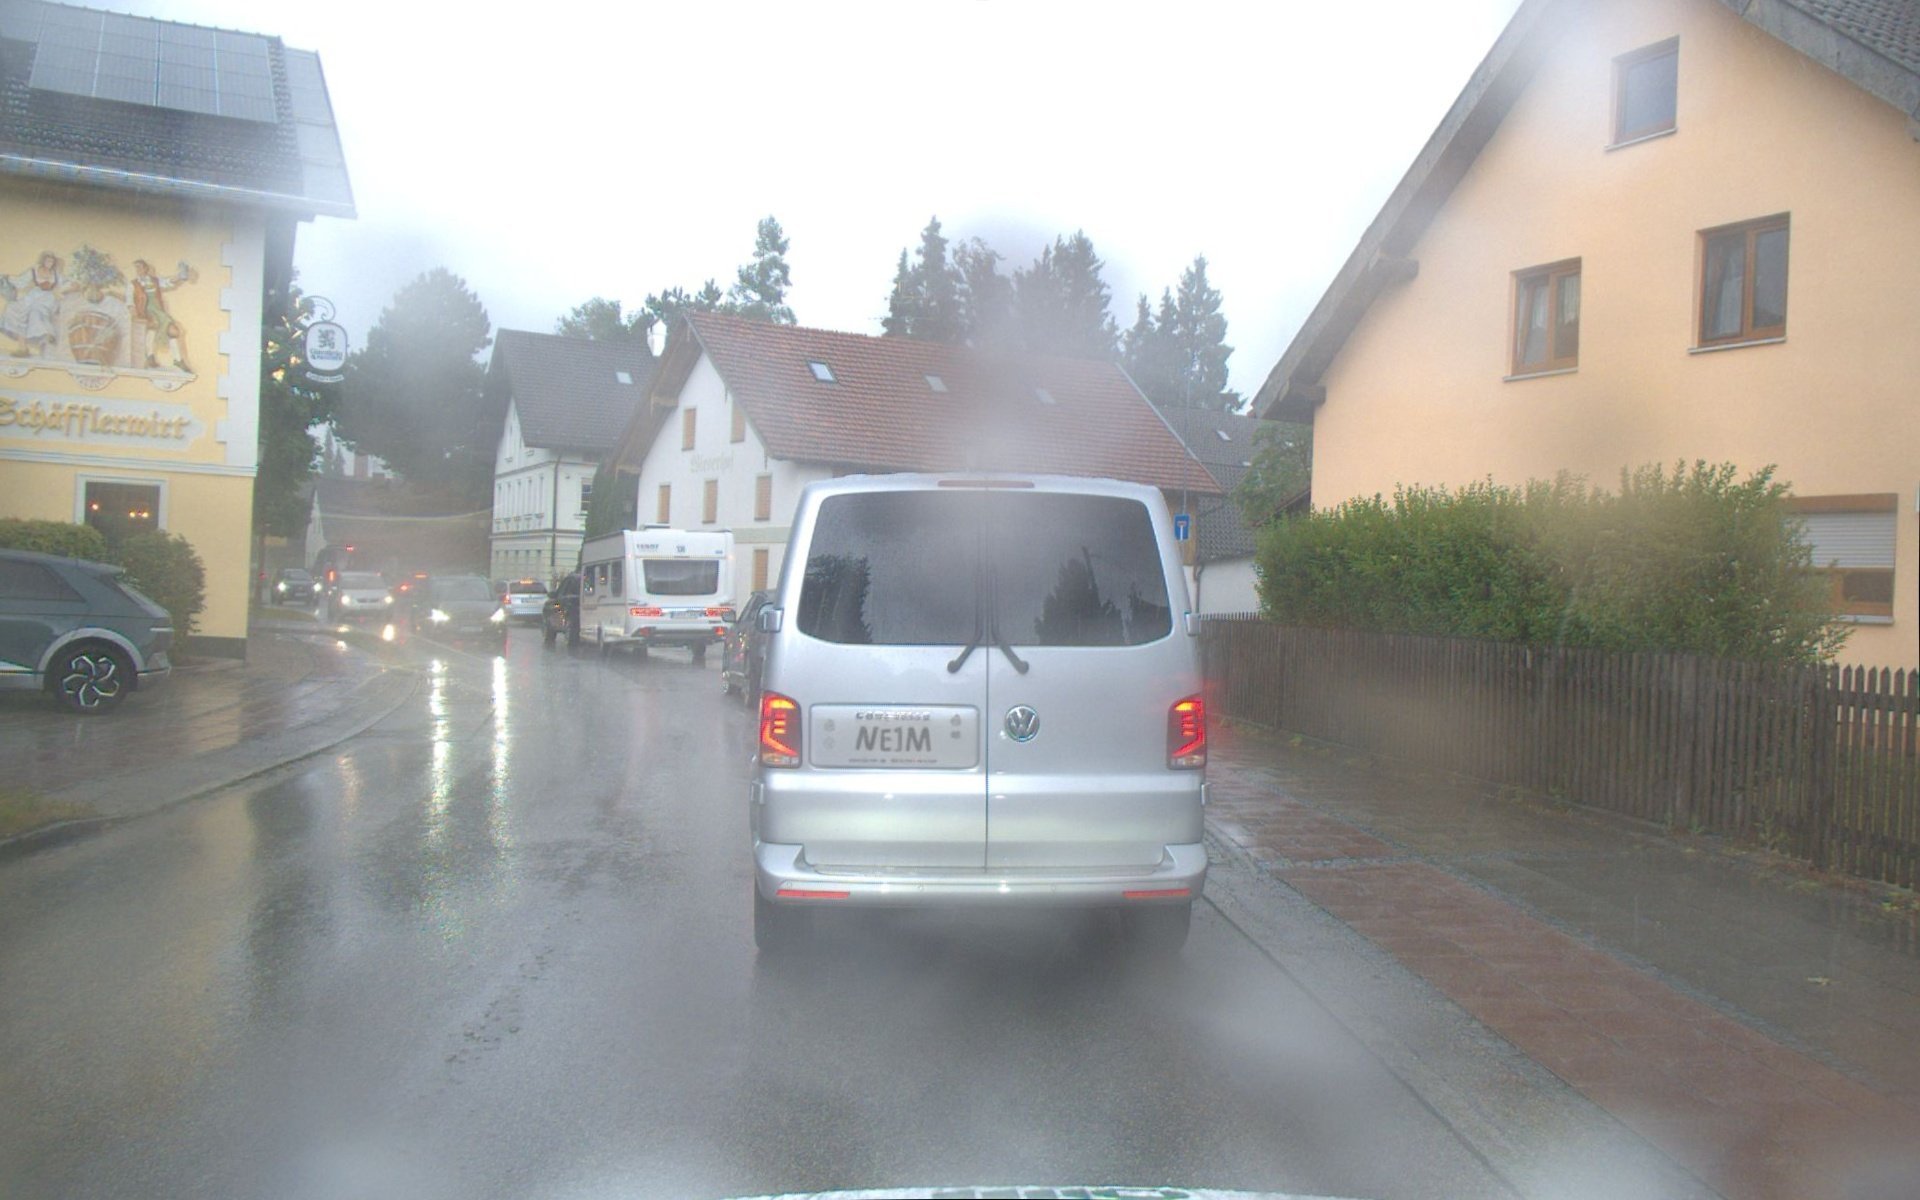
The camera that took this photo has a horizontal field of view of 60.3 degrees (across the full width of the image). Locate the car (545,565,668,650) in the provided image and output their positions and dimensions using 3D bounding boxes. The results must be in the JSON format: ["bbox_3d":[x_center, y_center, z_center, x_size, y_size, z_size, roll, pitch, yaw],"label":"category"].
[{"bbox_3d":[-8.691,0.160,40.307,2.025,1.932,5.140,1,0,-22],"label":"car"}]

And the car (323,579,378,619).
[{"bbox_3d":[-32.450,-0.083,88.031,2.143,1.932,4.971,3,0,-27],"label":"car"}]

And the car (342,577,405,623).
[{"bbox_3d":[-27.649,-0.030,77.863,2.143,1.932,4.971,3,0,-27],"label":"car"}]

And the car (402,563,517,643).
[{"bbox_3d":[-11.922,0.053,39.231,1.900,1.775,4.154,0,0,-27],"label":"car"}]

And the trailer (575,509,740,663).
[{"bbox_3d":[-6.539,-0.277,35.105,2.239,2.955,6.091,1,0,-22],"label":"trailer"}]

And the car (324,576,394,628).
[{"bbox_3d":[-20.529,0.078,56.426,1.733,1.707,3.963,0,0,-28],"label":"car"}]

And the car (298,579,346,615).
[{"bbox_3d":[-37.598,-0.208,97.393,2.143,1.932,4.971,3,0,-27],"label":"car"}]

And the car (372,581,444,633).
[{"bbox_3d":[-23.155,0.249,69.283,2.143,1.932,4.971,3,0,-27],"label":"car"}]

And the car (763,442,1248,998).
[{"bbox_3d":[0.154,0.430,8.515,1.740,1.997,5.073,0,0,0],"label":"car"}]

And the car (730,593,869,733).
[{"bbox_3d":[-2.230,0.757,22.608,1.676,1.611,4.679,-1,1,-7],"label":"car"}]

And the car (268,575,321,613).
[{"bbox_3d":[-29.593,-0.253,73.488,1.572,1.638,3.498,0,0,-33],"label":"car"}]

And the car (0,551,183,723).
[{"bbox_3d":[-10.568,0.266,17.073,4.427,1.594,1.822,5,1,-29],"label":"car"}]

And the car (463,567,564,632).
[{"bbox_3d":[-14.449,-0.020,53.292,2.143,1.932,4.971,3,-1,-27],"label":"car"}]
